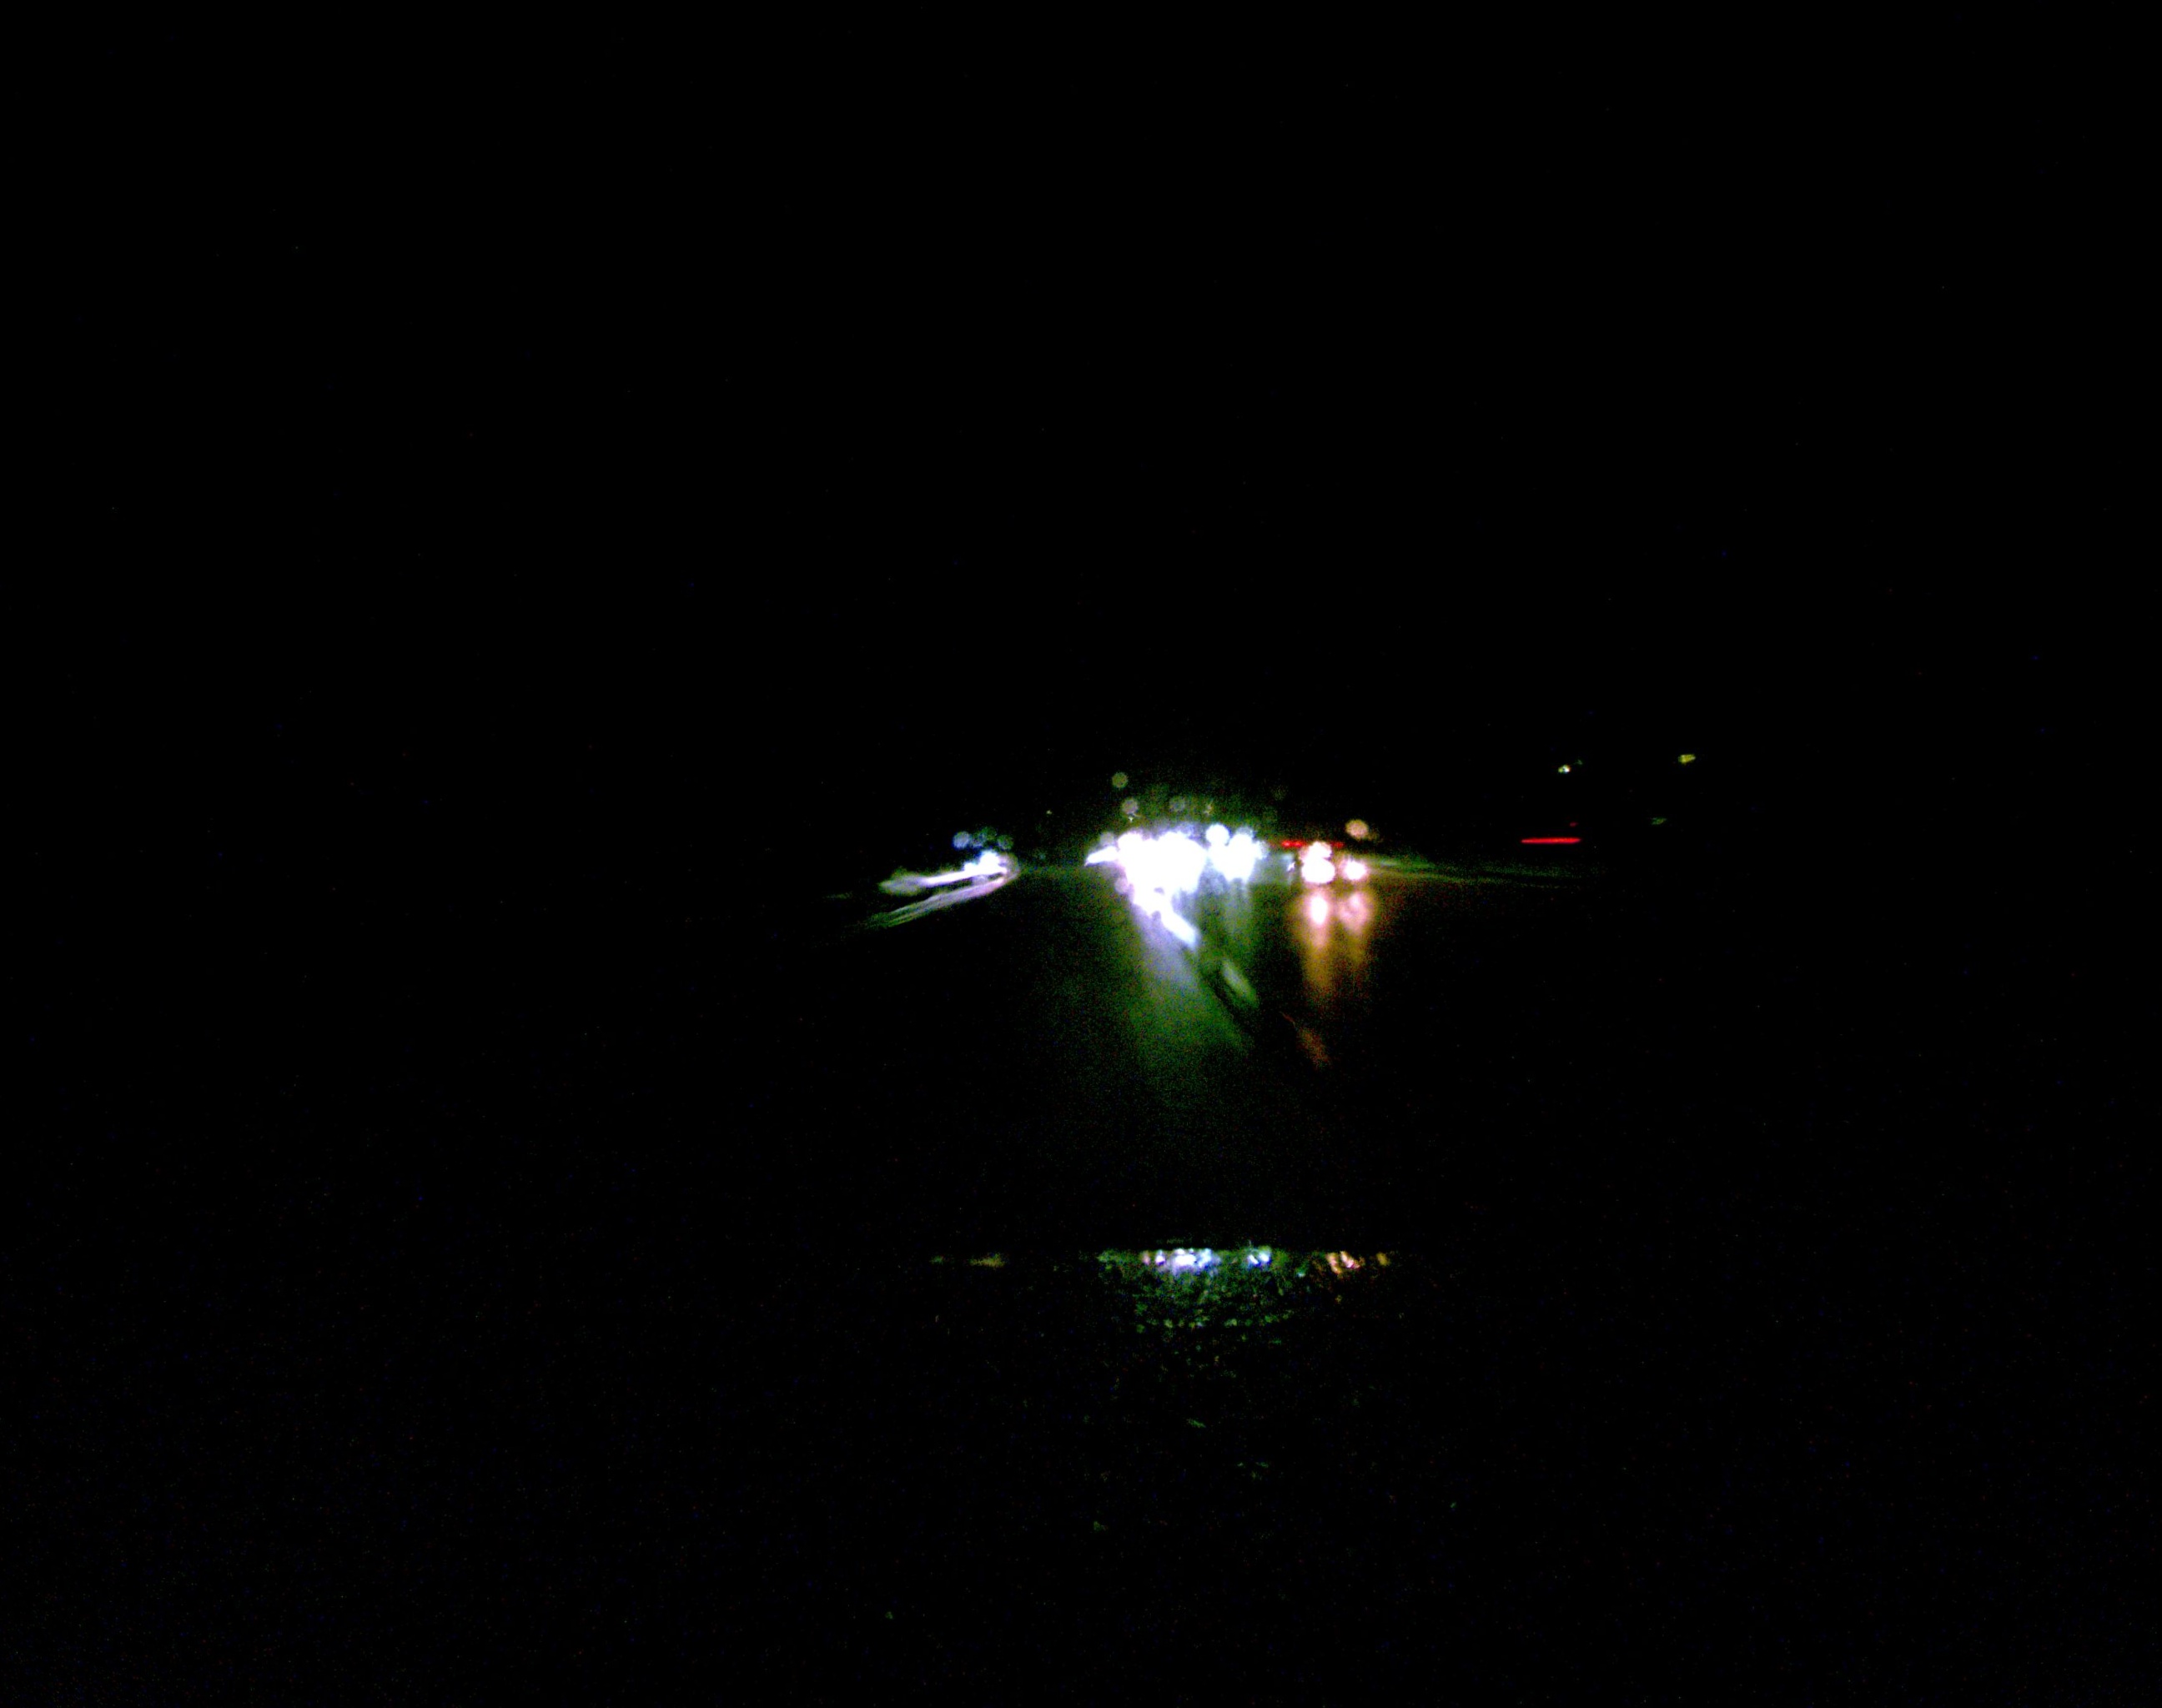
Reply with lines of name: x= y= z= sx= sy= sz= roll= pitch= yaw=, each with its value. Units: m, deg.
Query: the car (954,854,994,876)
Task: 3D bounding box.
car: x=-10.047 y=1.063 z=71.222 sx=2.003 sy=1.737 sz=4.091 roll=-6 pitch=1 yaw=-34

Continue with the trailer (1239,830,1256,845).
trailer: x=46.354 y=-4.583 z=211.871 sx=2.776 sy=4.006 sz=14.017 roll=-5 pitch=1 yaw=6

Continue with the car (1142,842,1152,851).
car: x=13.800 y=-1.556 z=159.213 sx=1.929 sy=1.783 sz=4.000 roll=-5 pitch=1 yaw=3

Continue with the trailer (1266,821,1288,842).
trailer: x=38.578 y=-4.422 z=150.029 sx=2.657 sy=3.709 sz=13.949 roll=-5 pitch=1 yaw=9

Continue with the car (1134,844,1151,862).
car: x=7.893 y=-0.170 z=97.633 sx=1.998 sy=2.002 sz=4.000 roll=-5 pitch=1 yaw=5

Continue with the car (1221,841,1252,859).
car: x=14.305 y=-0.380 z=69.927 sx=1.921 sy=1.587 sz=3.999 roll=-3 pitch=1 yaw=-1

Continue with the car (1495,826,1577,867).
car: x=25.208 y=-0.454 z=42.307 sx=1.998 sy=2.002 sz=4.278 roll=-5 pitch=1 yaw=2

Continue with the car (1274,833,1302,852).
car: x=23.568 y=-1.302 z=86.810 sx=1.998 sy=2.002 sz=4.567 roll=-5 pitch=1 yaw=3

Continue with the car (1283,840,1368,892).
car: x=8.359 y=0.370 z=26.352 sx=1.726 sy=1.587 sz=4.000 roll=-3 pitch=1 yaw=2

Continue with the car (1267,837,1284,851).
car: x=31.416 y=-1.634 z=122.855 sx=1.998 sy=2.002 sz=4.001 roll=-5 pitch=1 yaw=6

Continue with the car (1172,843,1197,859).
car: x=10.649 y=-0.319 z=78.500 sx=1.921 sy=1.587 sz=3.999 roll=-3 pitch=1 yaw=-1

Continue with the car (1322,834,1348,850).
car: x=33.175 y=-1.559 z=99.373 sx=1.998 sy=1.970 sz=4.000 roll=-5 pitch=1 yaw=3

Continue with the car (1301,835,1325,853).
car: x=29.663 y=-1.314 z=97.130 sx=1.998 sy=2.002 sz=4.001 roll=-5 pitch=1 yaw=5

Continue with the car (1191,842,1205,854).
car: x=19.100 y=-0.942 z=124.223 sx=1.929 sy=1.783 sz=4.001 roll=-5 pitch=1 yaw=5

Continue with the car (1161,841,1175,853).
car: x=14.390 y=-1.136 z=125.598 sx=1.929 sy=1.783 sz=4.000 roll=-5 pitch=1 yaw=3

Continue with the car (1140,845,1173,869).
car: x=5.543 y=0.189 z=56.032 sx=1.921 sy=1.587 sz=3.999 roll=-3 pitch=1 yaw=-1
